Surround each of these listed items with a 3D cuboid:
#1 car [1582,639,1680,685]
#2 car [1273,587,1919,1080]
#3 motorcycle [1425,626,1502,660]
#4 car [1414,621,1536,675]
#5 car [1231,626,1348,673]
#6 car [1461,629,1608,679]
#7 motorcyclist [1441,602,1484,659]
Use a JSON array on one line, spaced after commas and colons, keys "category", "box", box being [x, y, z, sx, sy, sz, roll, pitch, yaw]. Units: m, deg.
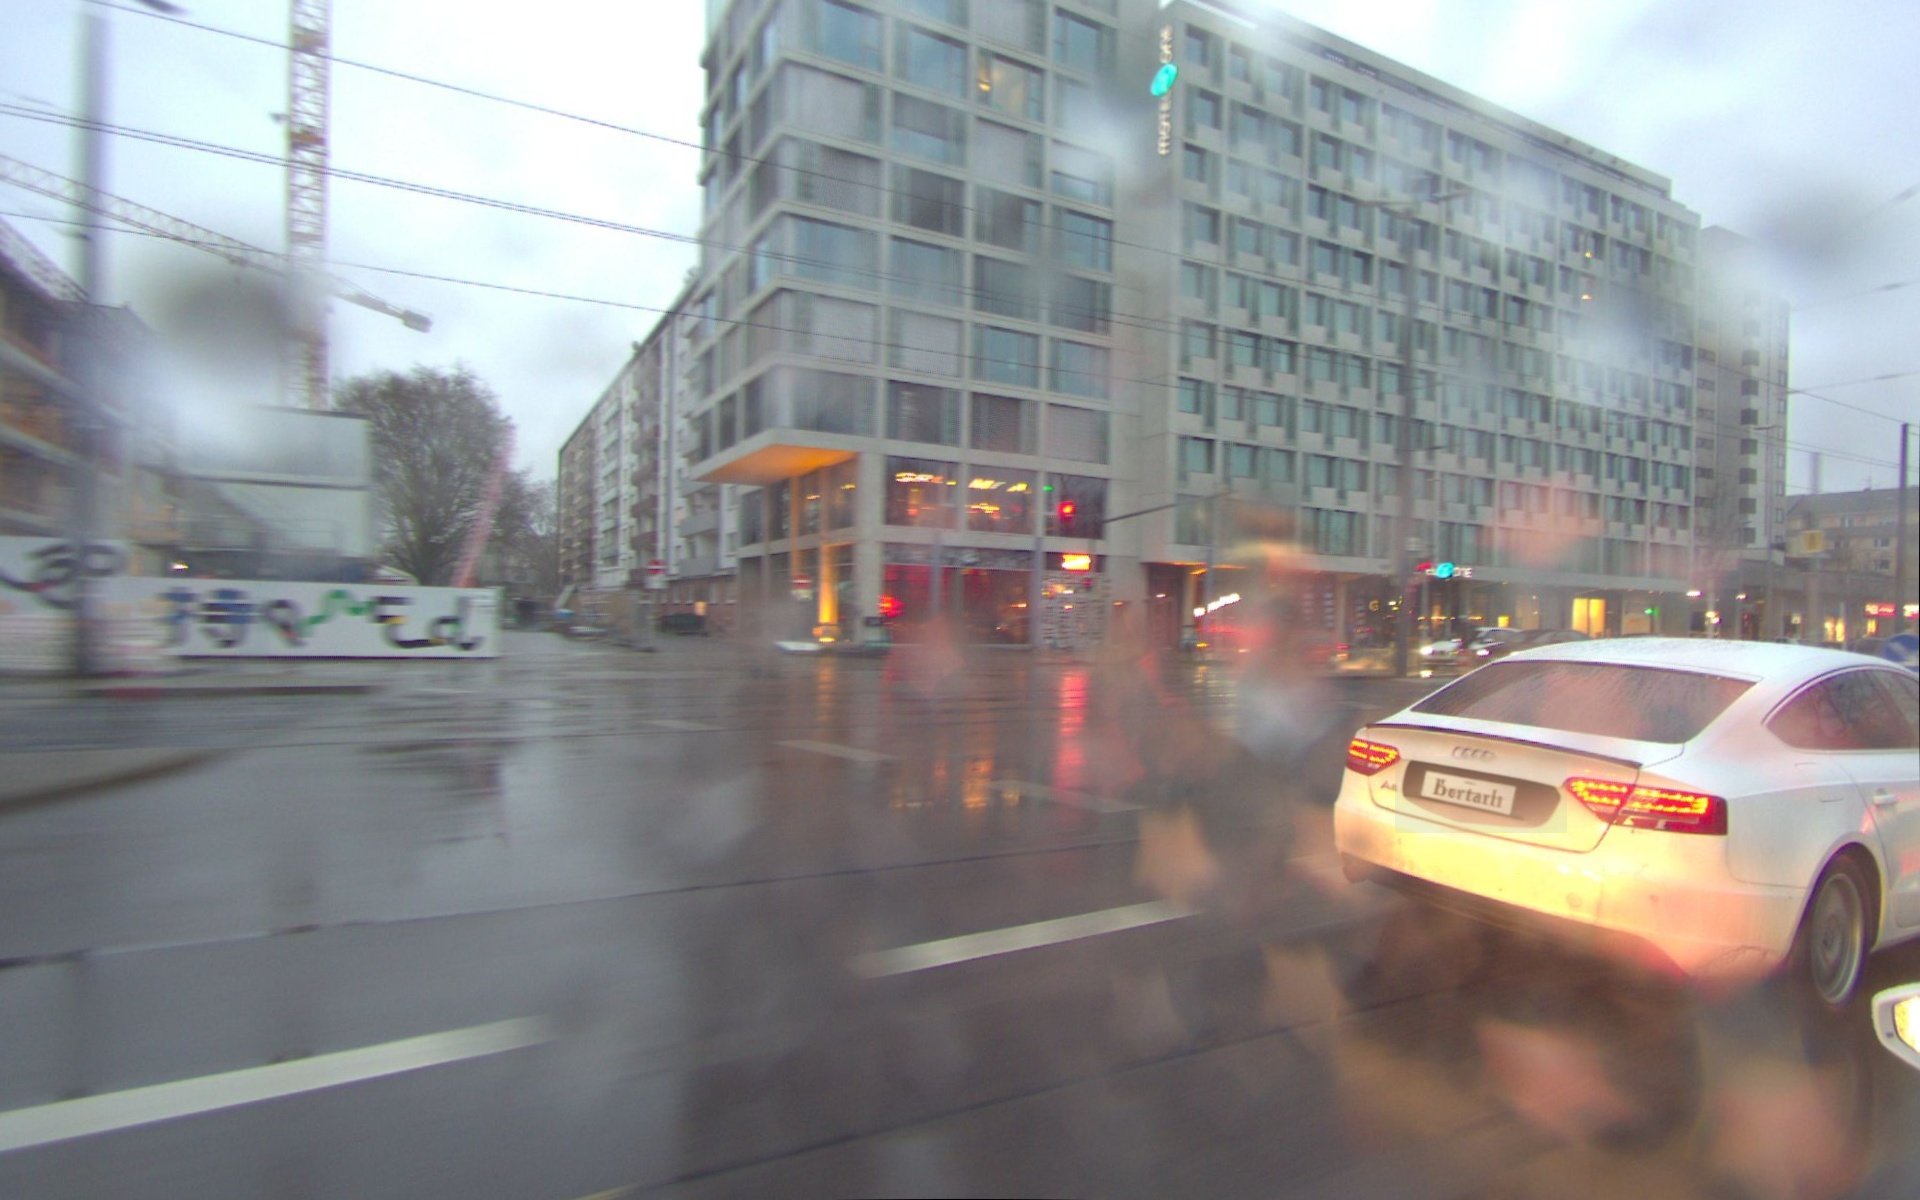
[{"category": "car", "box": [25.019, 2.264, 37.380, 5.060, 1.481, 1.974, 2, 0, -44]}, {"category": "car", "box": [3.699, 0.769, 4.892, 4.202, 1.489, 1.751, 2, 0, -30]}, {"category": "motorcycle", "box": [17.395, 1.495, 34.694, 2.931, 1.071, 0.867, 2, 0, -30]}, {"category": "car", "box": [19.219, 1.781, 37.458, 4.544, 1.813, 1.872, 2, 0, -30]}, {"category": "car", "box": [12.412, 1.869, 37.823, 3.947, 1.595, 1.875, 2, 0, -26]}, {"category": "car", "box": [19.366, 1.819, 33.830, 5.034, 1.481, 1.984, 2, 0, -30]}, {"category": "motorcyclist", "box": [17.329, 1.051, 34.648, 1.021, 1.910, 0.867, 2, 1, -29]}]
